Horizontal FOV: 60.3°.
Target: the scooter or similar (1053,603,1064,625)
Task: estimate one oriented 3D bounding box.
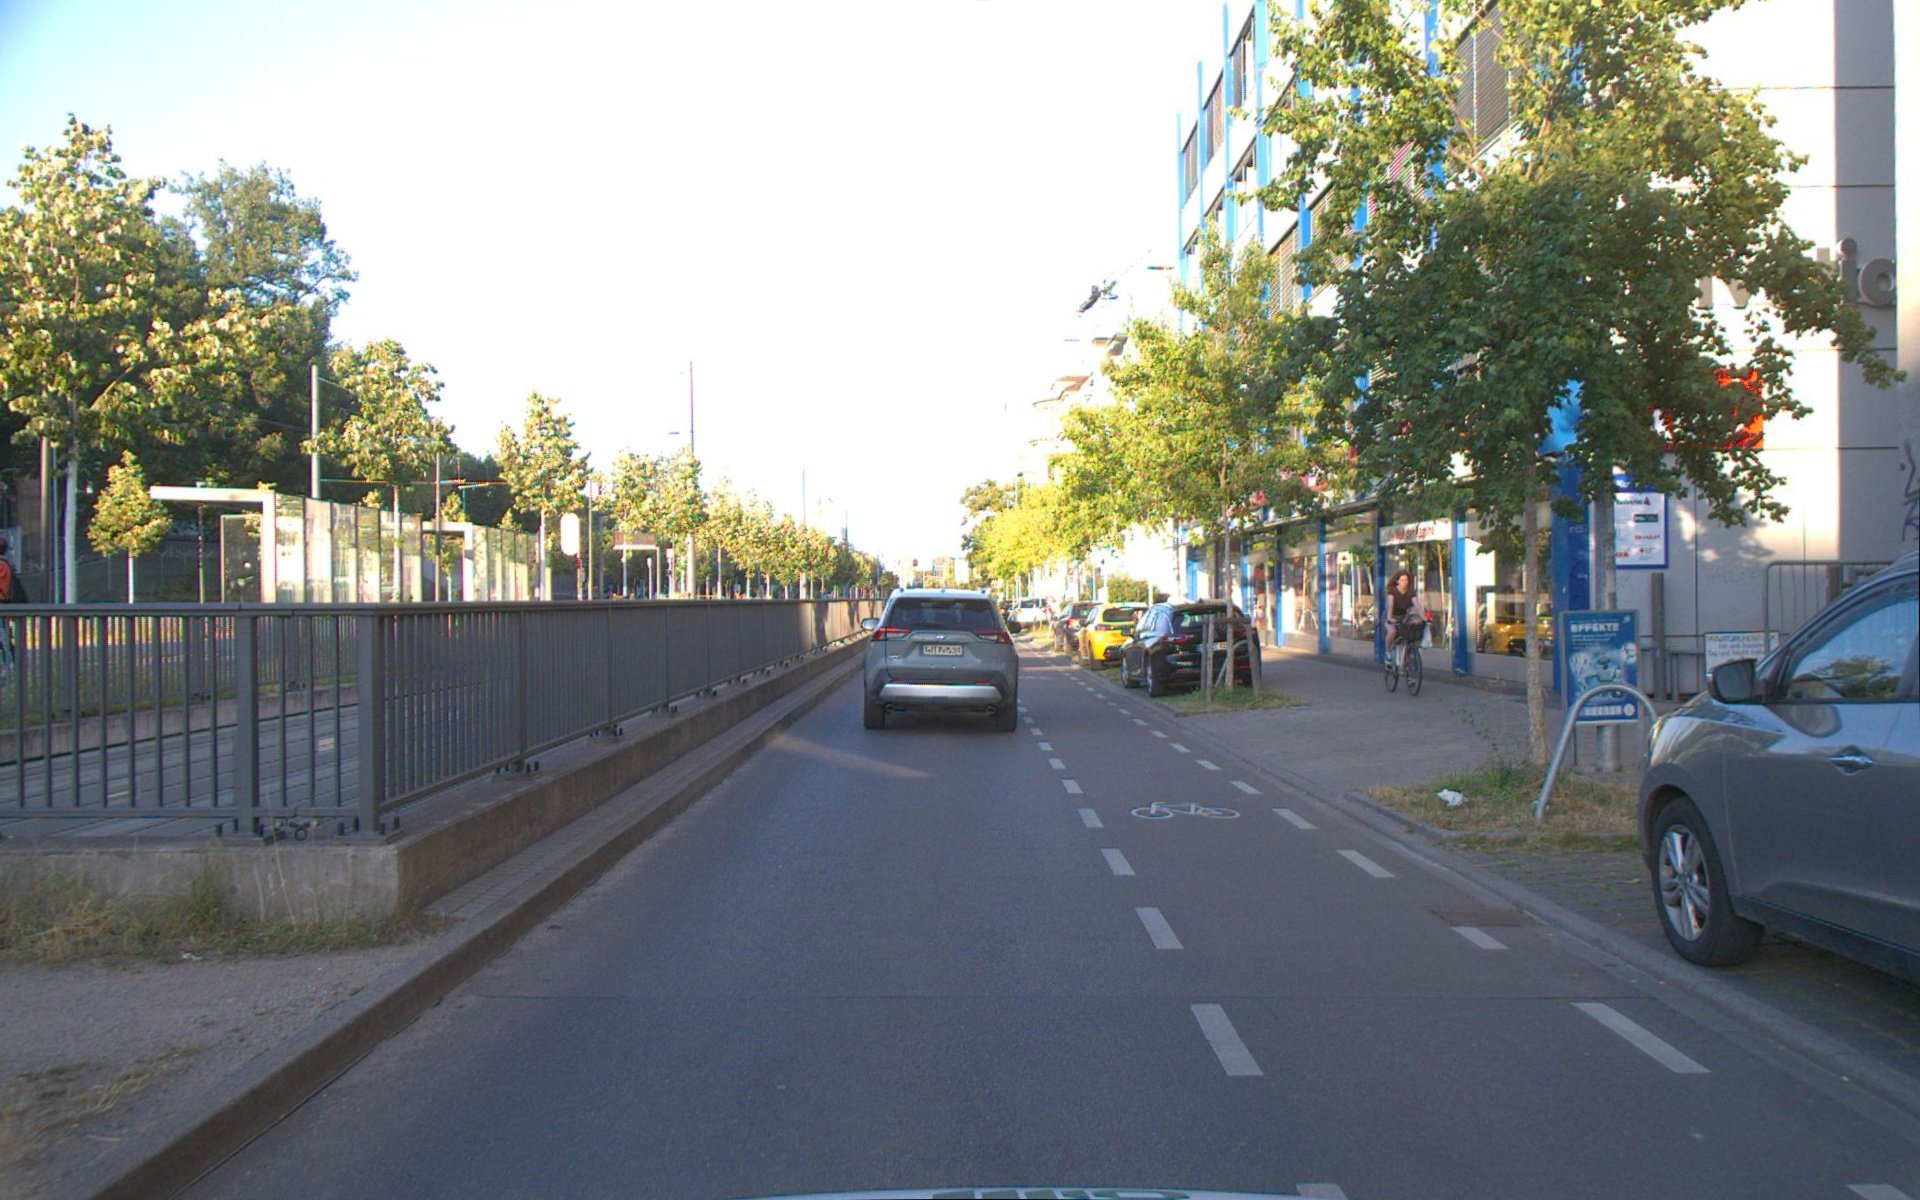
[{"bbox_3d":[5.897,0.828,98.775,0.481,1.280,1.207,1,-1,-4],"label":"scooter or similar"}]

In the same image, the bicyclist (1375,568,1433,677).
[{"bbox_3d":[6.292,0.317,23.461,0.547,1.501,0.622,-4,-1,-2],"label":"bicyclist"}]

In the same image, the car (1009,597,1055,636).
[{"bbox_3d":[3.349,0.755,77.609,1.817,1.736,4.252,-1,0,-2],"label":"car"}]

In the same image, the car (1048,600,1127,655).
[{"bbox_3d":[3.668,0.764,48.204,1.783,1.480,4.126,-2,0,-2],"label":"car"}]

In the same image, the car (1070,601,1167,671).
[{"bbox_3d":[3.585,0.798,38.072,1.650,1.480,4.128,-2,0,-2],"label":"car"}]

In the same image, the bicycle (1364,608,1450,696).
[{"bbox_3d":[6.307,0.714,23.451,0.543,1.149,1.973,-4,0,-2],"label":"bicycle"}]

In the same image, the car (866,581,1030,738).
[{"bbox_3d":[-0.215,0.687,20.775,1.820,1.744,4.190,1,0,-2],"label":"car"}]

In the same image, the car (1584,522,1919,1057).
[{"bbox_3d":[3.845,0.553,5.509,1.721,1.683,4.528,-3,0,0],"label":"car"}]

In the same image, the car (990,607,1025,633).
[{"bbox_3d":[3.052,1.291,106.941,1.757,1.496,4.442,-4,0,-3],"label":"car"}]

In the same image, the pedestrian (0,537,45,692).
[{"bbox_3d":[-11.015,0.166,19.083,0.623,1.759,0.634,-1,0,-13],"label":"pedestrian"}]

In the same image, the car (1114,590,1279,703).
[{"bbox_3d":[3.833,0.714,27.623,1.783,1.594,4.808,-4,0,-2],"label":"car"}]
